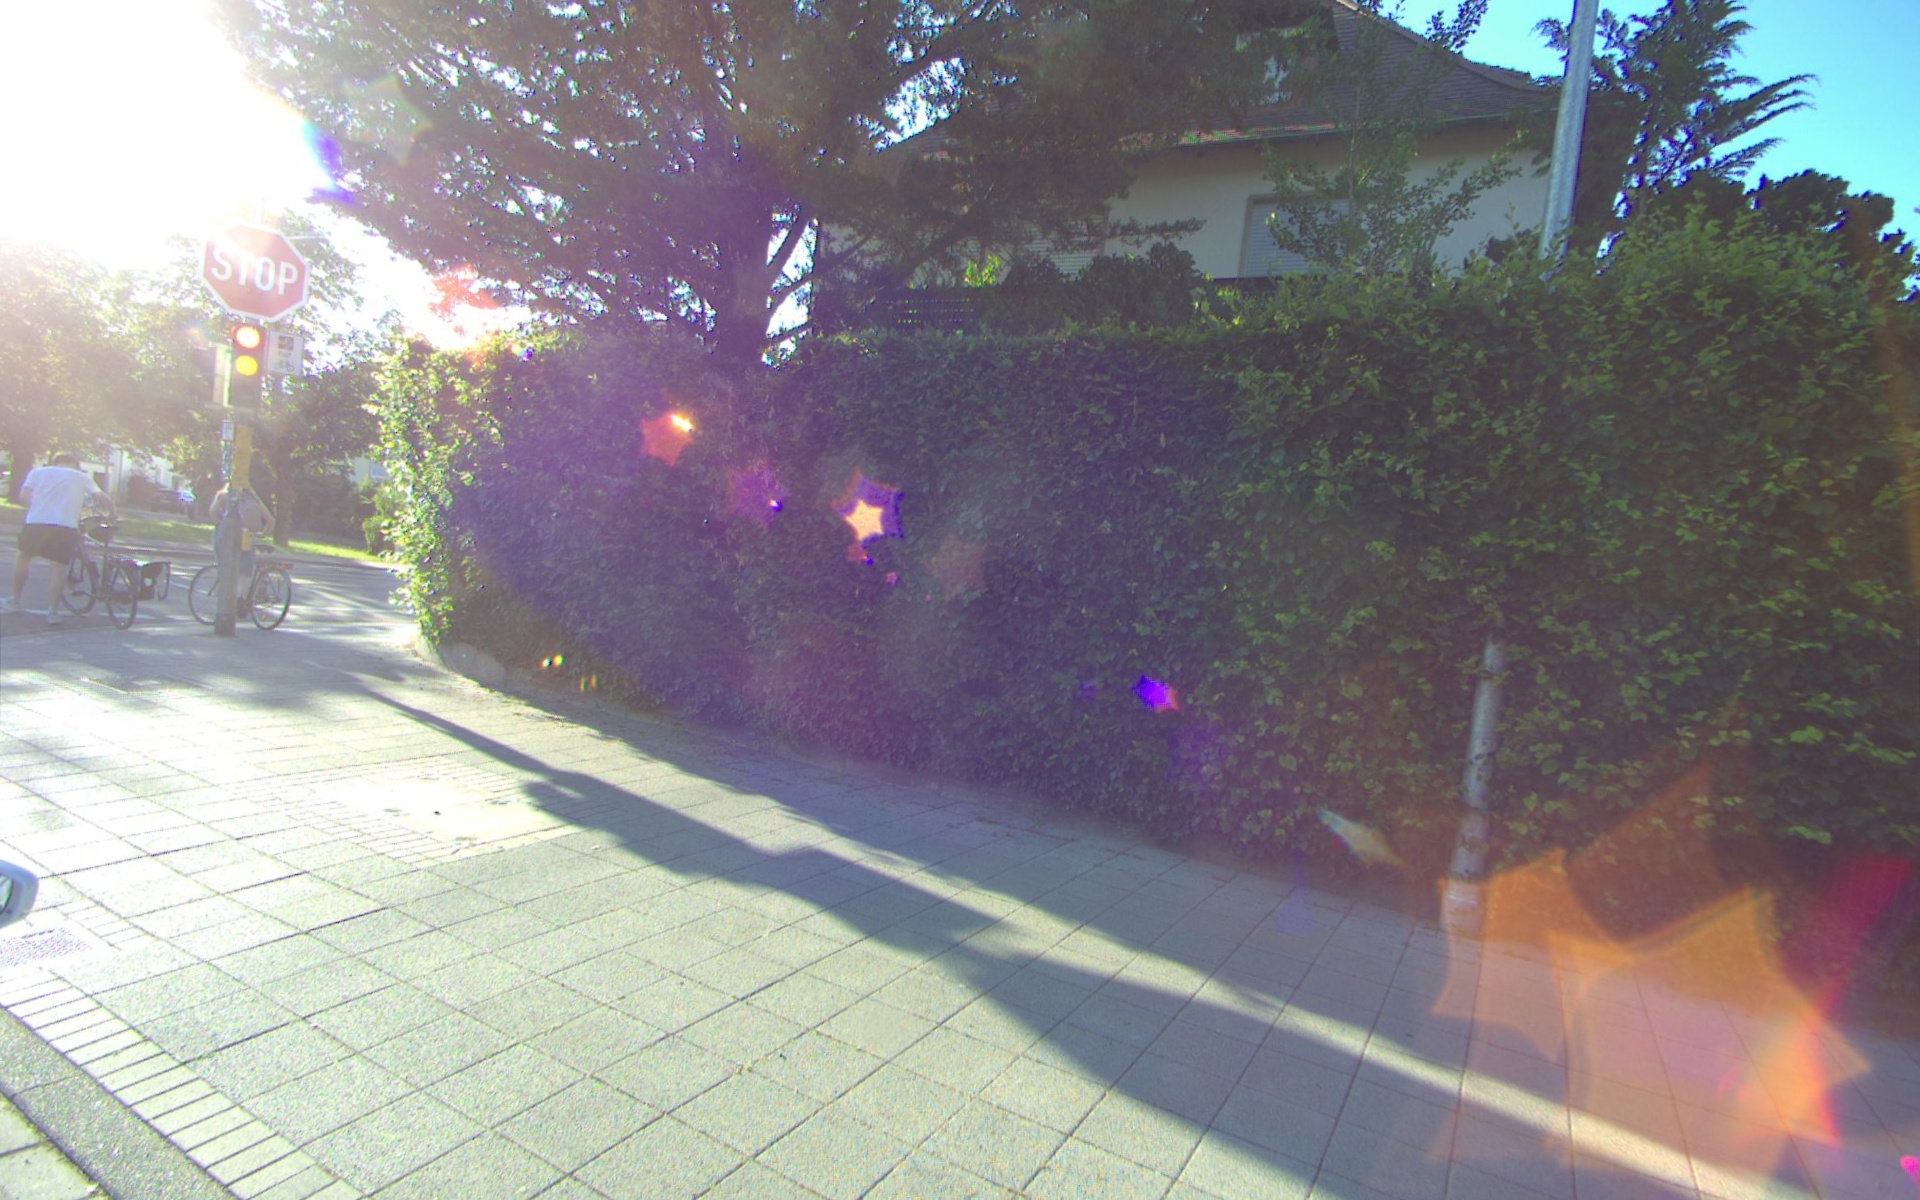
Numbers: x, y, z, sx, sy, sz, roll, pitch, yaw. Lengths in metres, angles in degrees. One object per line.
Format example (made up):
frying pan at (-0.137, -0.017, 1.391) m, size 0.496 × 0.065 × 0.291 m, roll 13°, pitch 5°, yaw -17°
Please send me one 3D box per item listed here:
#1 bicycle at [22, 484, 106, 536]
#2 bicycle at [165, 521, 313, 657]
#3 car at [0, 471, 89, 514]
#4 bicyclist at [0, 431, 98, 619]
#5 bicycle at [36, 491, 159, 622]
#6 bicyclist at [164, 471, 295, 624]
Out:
bicycle at (-23.337, -2.331, 26.223) m, size 0.460 × 1.103 × 1.520 m, roll 8°, pitch 1°, yaw 39°
bicycle at (-8.139, -0.143, 11.325) m, size 1.930 × 1.198 × 0.492 m, roll 10°, pitch 1°, yaw 31°
car at (-46.507, -5.434, 50.413) m, size 1.497 × 1.542 × 3.933 m, roll 6°, pitch -2°, yaw 25°
bicyclist at (-9.460, -0.750, 10.226) m, size 0.882 × 1.752 × 0.813 m, roll 6°, pitch -1°, yaw 44°
bicycle at (-9.026, -0.478, 10.500) m, size 1.878 × 1.197 × 0.572 m, roll 6°, pitch -1°, yaw 40°
bicyclist at (-8.232, -0.585, 11.347) m, size 0.878 × 1.580 × 0.714 m, roll 7°, pitch -1°, yaw 27°
